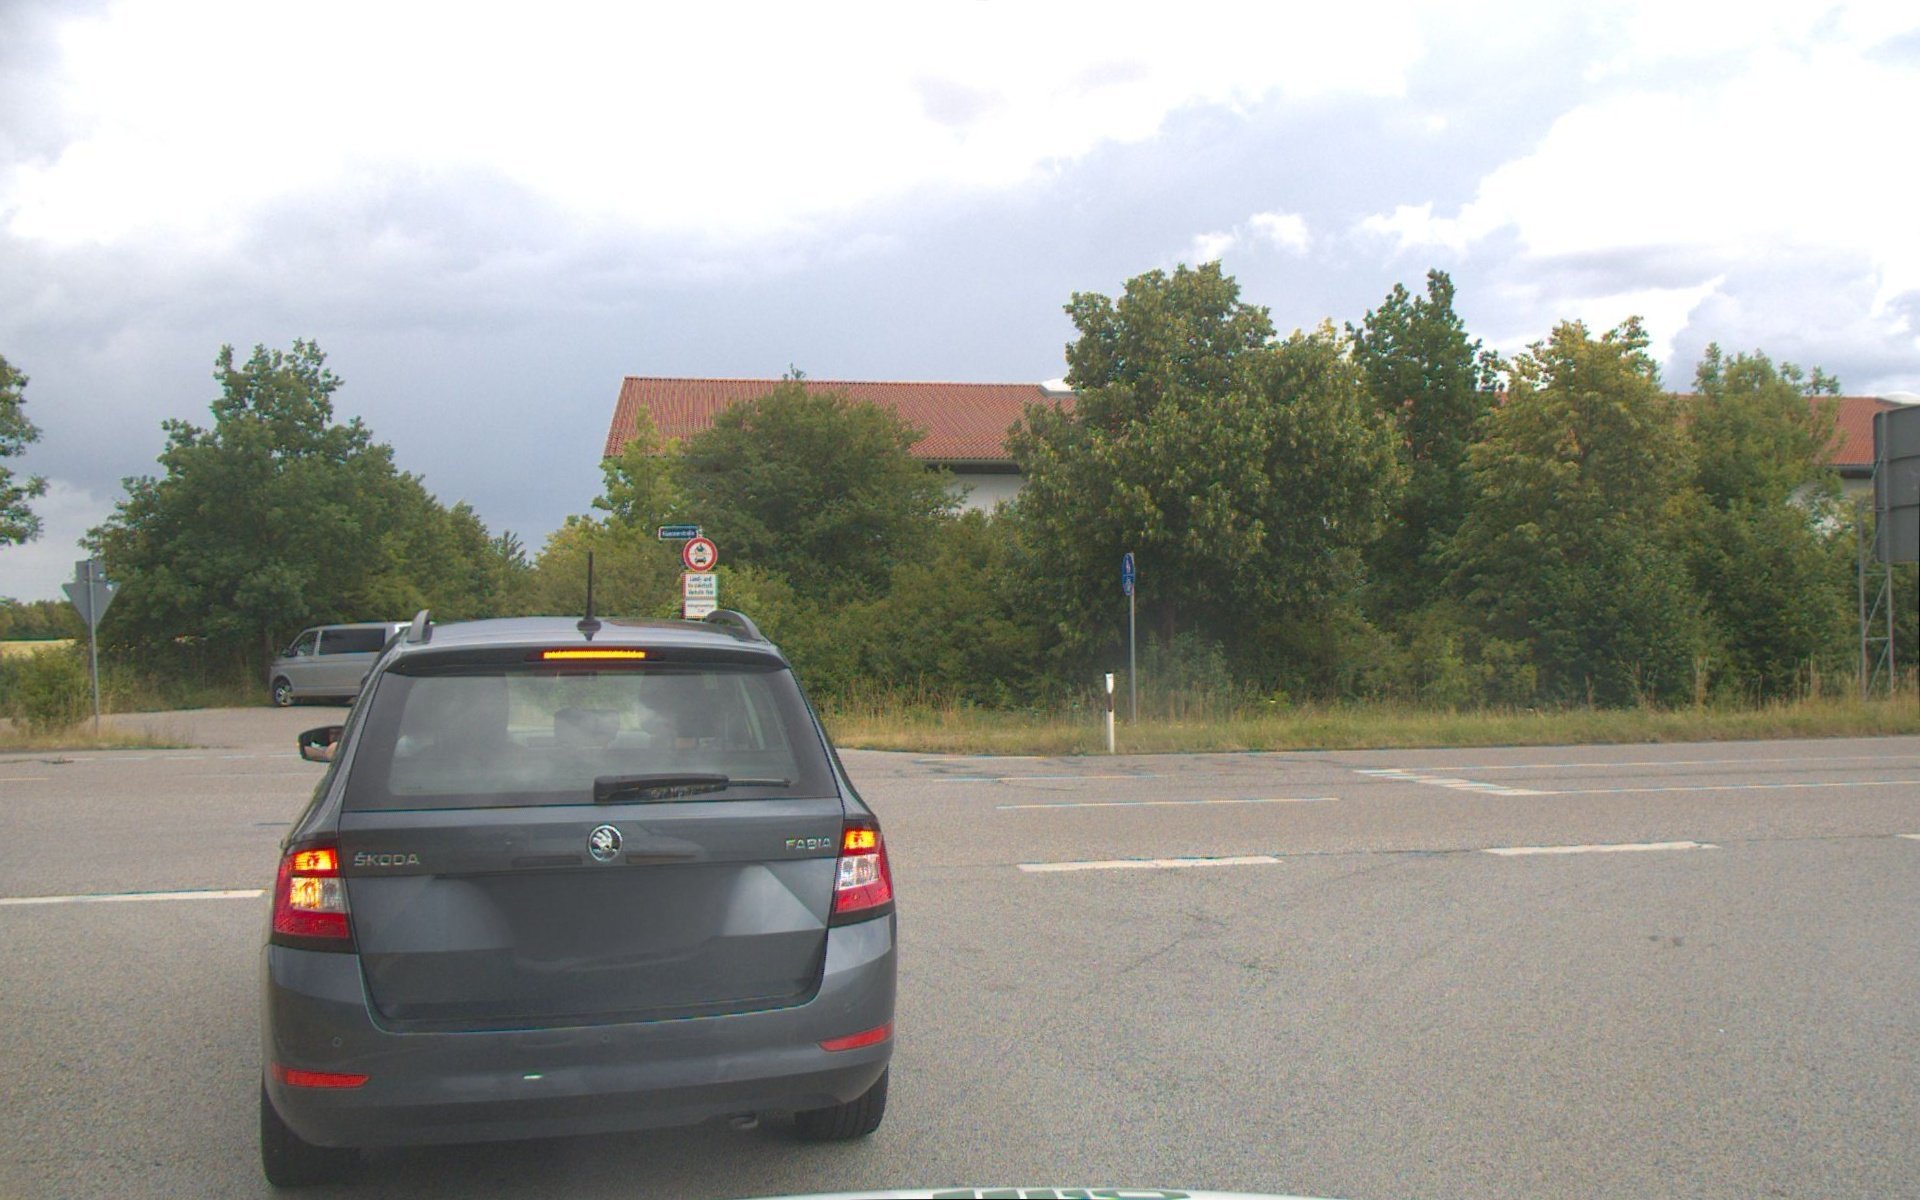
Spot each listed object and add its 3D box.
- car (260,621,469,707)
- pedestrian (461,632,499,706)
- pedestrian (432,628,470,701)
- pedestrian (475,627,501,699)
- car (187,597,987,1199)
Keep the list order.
[{"bbox_3d":[-14.526,1.558,40.256,4.991,1.919,2.108,-2,0,32],"label":"car"},{"bbox_3d":[-11.591,1.648,39.941,0.709,1.753,0.791,-1,-1,-6],"label":"pedestrian"},{"bbox_3d":[-12.494,1.579,40.598,0.687,1.753,0.732,-1,-1,-2],"label":"pedestrian"},{"bbox_3d":[-11.870,1.579,41.600,0.480,1.777,0.642,-1,-1,-6],"label":"pedestrian"},{"bbox_3d":[-1.293,0.756,5.557,1.685,1.473,4.099,0,-1,-16],"label":"car"}]
